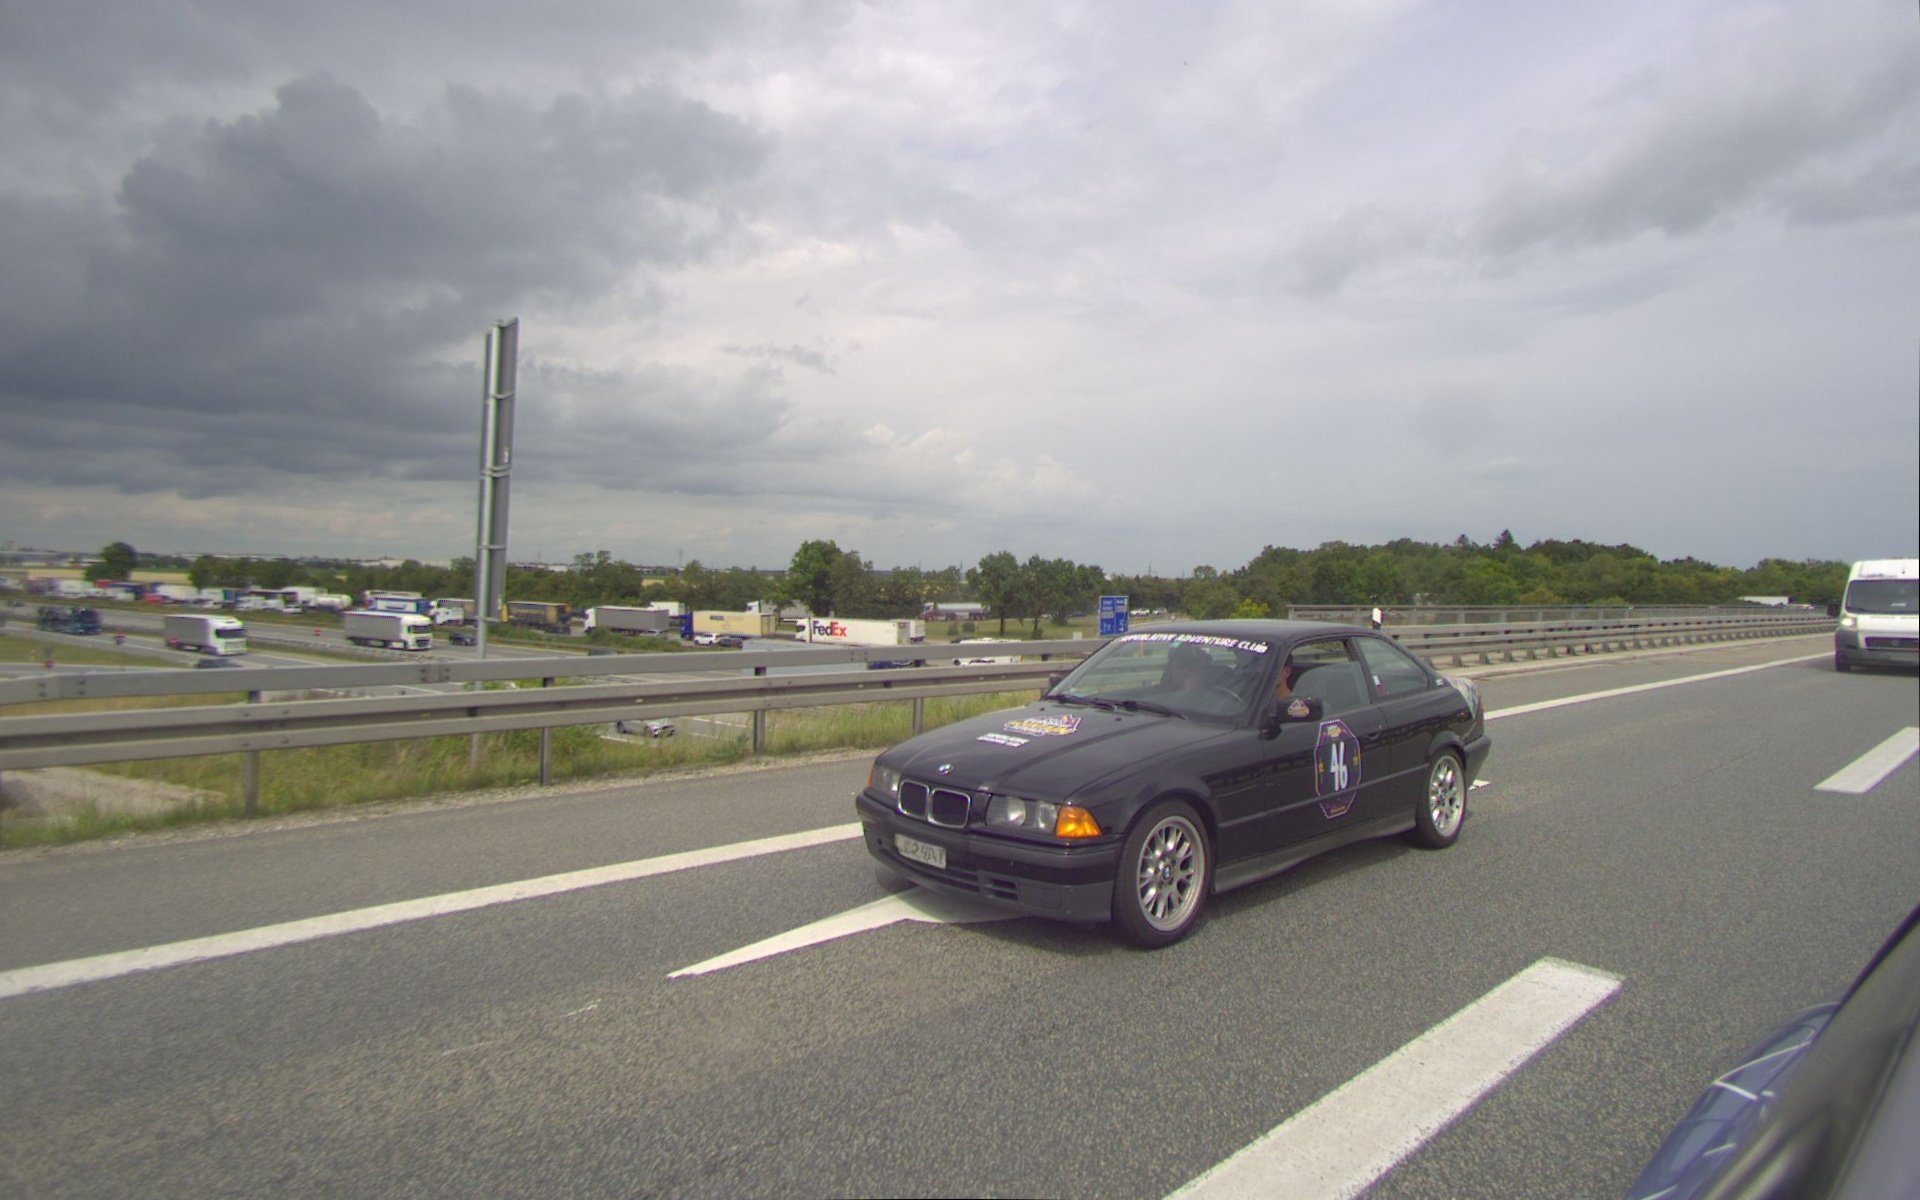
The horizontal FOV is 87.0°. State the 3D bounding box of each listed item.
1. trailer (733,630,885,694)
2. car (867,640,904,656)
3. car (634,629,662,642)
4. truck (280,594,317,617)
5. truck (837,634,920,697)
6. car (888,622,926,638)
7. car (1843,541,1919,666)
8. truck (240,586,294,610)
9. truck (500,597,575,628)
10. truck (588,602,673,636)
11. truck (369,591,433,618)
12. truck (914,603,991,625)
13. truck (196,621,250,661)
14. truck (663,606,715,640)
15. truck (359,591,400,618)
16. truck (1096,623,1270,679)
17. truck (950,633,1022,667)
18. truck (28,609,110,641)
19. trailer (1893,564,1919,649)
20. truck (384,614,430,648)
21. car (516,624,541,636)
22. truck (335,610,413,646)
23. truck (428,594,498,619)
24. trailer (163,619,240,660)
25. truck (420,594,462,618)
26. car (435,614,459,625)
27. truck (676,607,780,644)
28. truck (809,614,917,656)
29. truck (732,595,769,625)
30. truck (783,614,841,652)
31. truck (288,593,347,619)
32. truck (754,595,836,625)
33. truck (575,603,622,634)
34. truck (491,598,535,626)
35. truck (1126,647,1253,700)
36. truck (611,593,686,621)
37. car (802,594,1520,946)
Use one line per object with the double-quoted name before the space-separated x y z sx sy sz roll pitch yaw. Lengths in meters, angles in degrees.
"trailer" -12.253 4.802 80.891 13.867 4.340 3.091 1 0 36
"car" -8.374 5.417 113.966 3.974 1.575 1.652 1 1 35
"car" -42.162 4.794 136.759 3.976 1.505 1.715 1 0 37
"truck" -132.379 1.156 202.389 6.454 4.555 4.022 0 -1 34
"truck" -6.171 4.862 76.418 5.579 4.340 3.092 1 0 36
"car" -7.082 3.989 135.577 4.635 2.039 2.159 0 -1 32
"car" 21.186 0.091 22.108 6.044 2.485 2.117 1 -1 -42
"truck" -144.792 -0.394 211.426 15.248 4.882 4.036 0 -1 34
"truck" -67.311 1.891 160.810 15.217 4.612 3.954 0 -1 37
"truck" -48.026 2.676 147.183 14.795 4.612 3.956 0 -1 36
"truck" -101.306 0.765 183.249 14.383 4.882 4.037 0 -1 34
"truck" -1.306 2.629 192.537 14.423 4.142 3.092 0 -1 -21
"truck" -82.113 4.485 112.733 6.487 4.151 2.952 0 0 35
"truck" -37.591 3.135 140.447 6.253 4.568 3.882 0 0 35
"truck" -107.453 0.794 187.271 6.450 4.798 4.025 1 -1 33
"truck" 21.334 4.747 97.780 16.049 4.759 3.949 0 0 32
"truck" 2.670 5.191 105.639 7.519 3.238 2.203 0 -1 36
"truck" -127.075 3.419 144.133 18.905 4.111 3.947 0 0 33
"trailer" 25.120 0.174 25.537 4.551 2.039 1.858 1 -1 -41
"truck" -64.014 3.557 117.167 5.129 3.725 2.468 1 0 33
"car" -62.988 4.333 147.723 3.974 1.575 1.652 1 1 35
"truck" -70.400 3.294 121.411 13.046 3.725 2.467 2 0 34
"truck" -84.375 1.038 171.695 14.798 4.083 4.090 0 -1 36
"trailer" -87.653 4.429 116.751 14.157 4.151 2.952 1 0 35
"truck" -90.260 1.031 175.963 6.457 4.063 4.080 0 -1 36
"car" -80.195 3.065 158.118 3.975 1.505 1.716 1 0 36
"truck" -31.314 3.261 135.938 16.262 4.612 3.957 0 -1 36
"truck" -11.809 4.110 121.711 13.701 4.612 3.957 0 -1 35
"truck" -38.051 1.767 184.168 6.312 5.381 3.864 0 0 -7
"truck" -18.510 4.088 126.457 6.253 4.568 3.882 0 0 36
"truck" -125.653 1.099 197.862 15.248 4.882 4.036 0 -1 34
"truck" -30.093 1.772 185.208 14.555 5.281 3.866 0 -1 -7
"truck" -54.234 2.673 151.739 6.254 4.568 3.881 0 0 36
"truck" -73.048 1.886 165.289 6.461 4.555 4.018 0 0 37
"truck" 20.453 6.470 90.497 10.701 4.123 3.203 0 -1 33
"truck" -57.480 1.259 187.142 12.778 5.105 3.944 0 -1 7
"car" 1.399 0.643 5.773 4.287 1.297 1.707 1 0 -40
